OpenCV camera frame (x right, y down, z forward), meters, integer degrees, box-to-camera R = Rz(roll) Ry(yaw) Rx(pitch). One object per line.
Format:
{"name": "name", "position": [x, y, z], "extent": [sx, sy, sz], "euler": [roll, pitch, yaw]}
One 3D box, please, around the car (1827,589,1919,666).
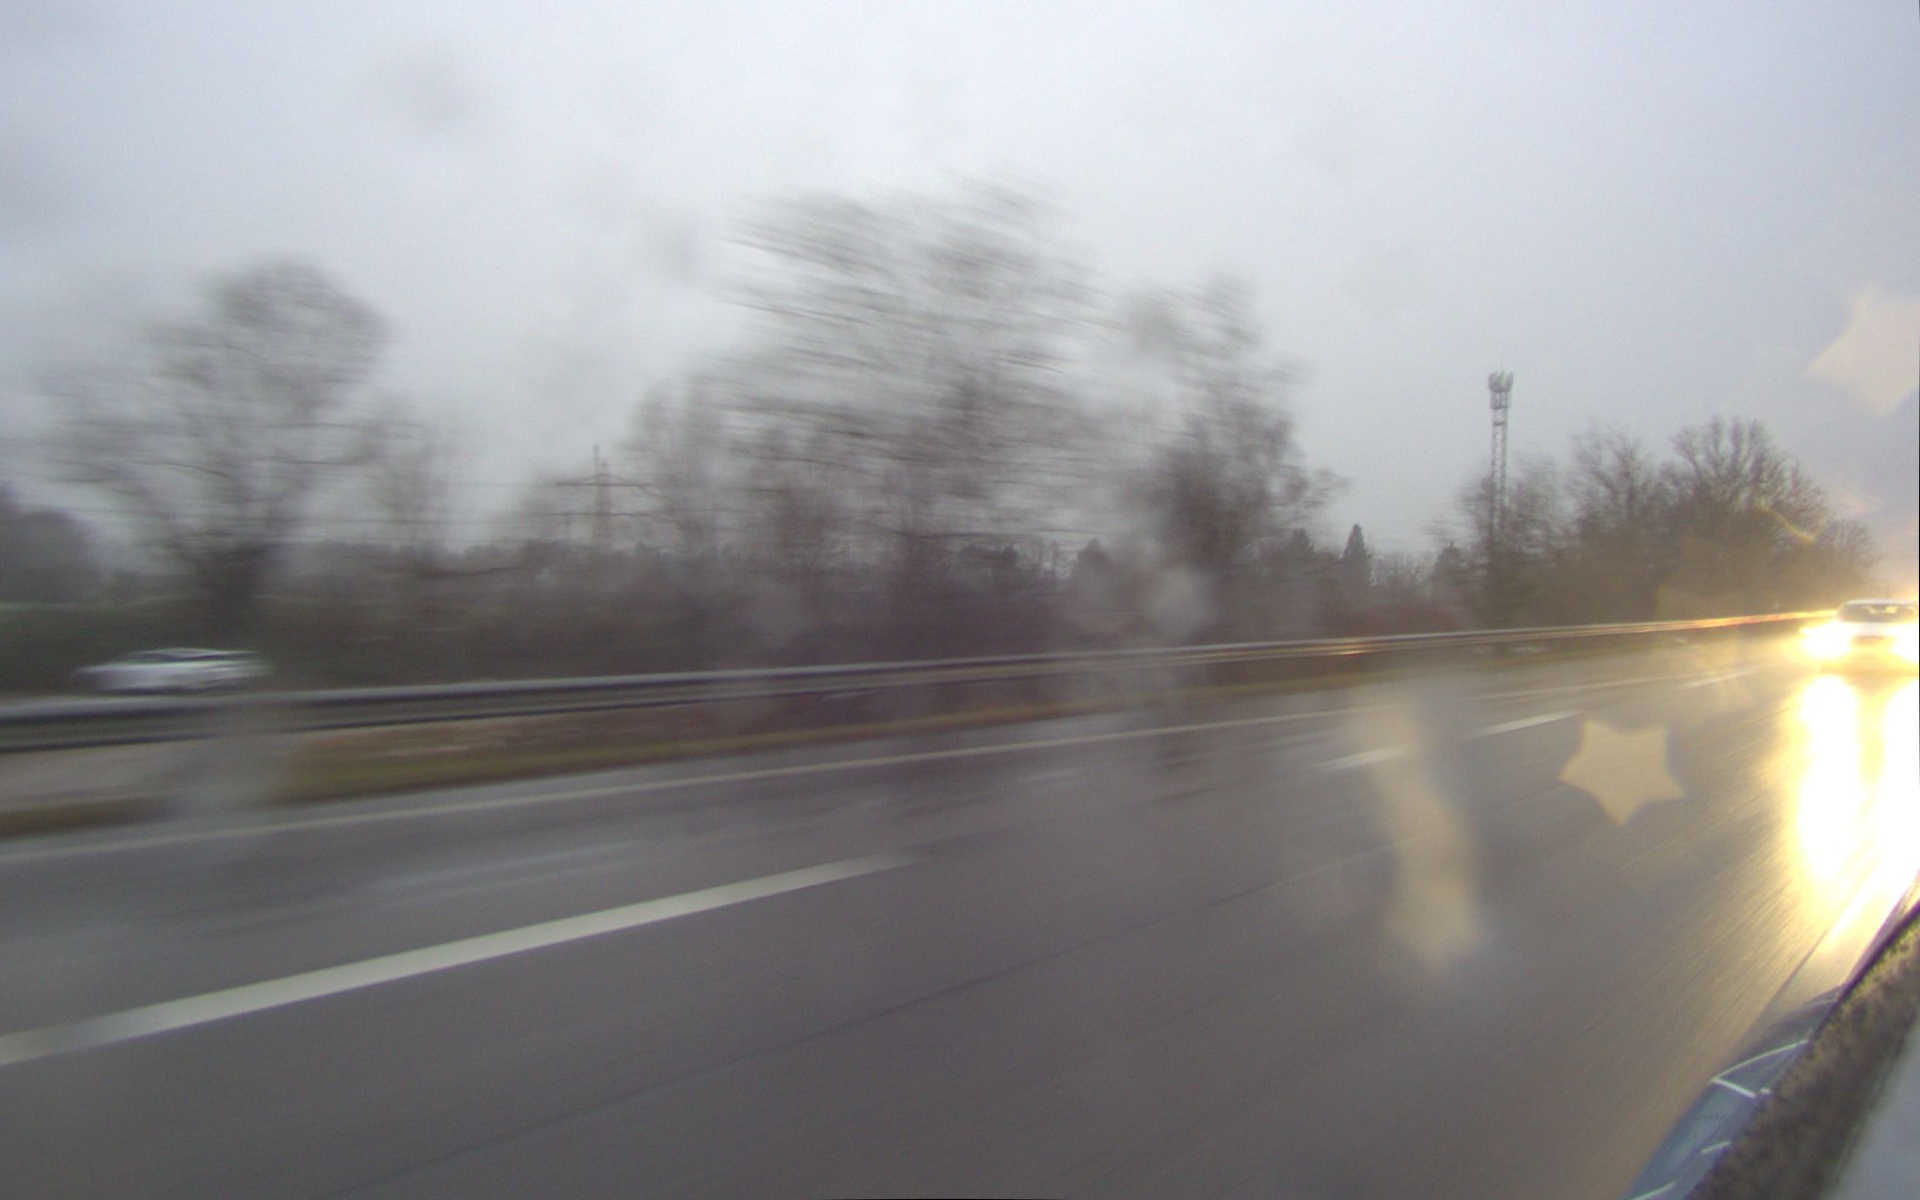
{"name": "car", "position": [19.890, 0.545, 21.534], "extent": [3.933, 1.522, 1.799], "euler": [0, 0, -44]}
